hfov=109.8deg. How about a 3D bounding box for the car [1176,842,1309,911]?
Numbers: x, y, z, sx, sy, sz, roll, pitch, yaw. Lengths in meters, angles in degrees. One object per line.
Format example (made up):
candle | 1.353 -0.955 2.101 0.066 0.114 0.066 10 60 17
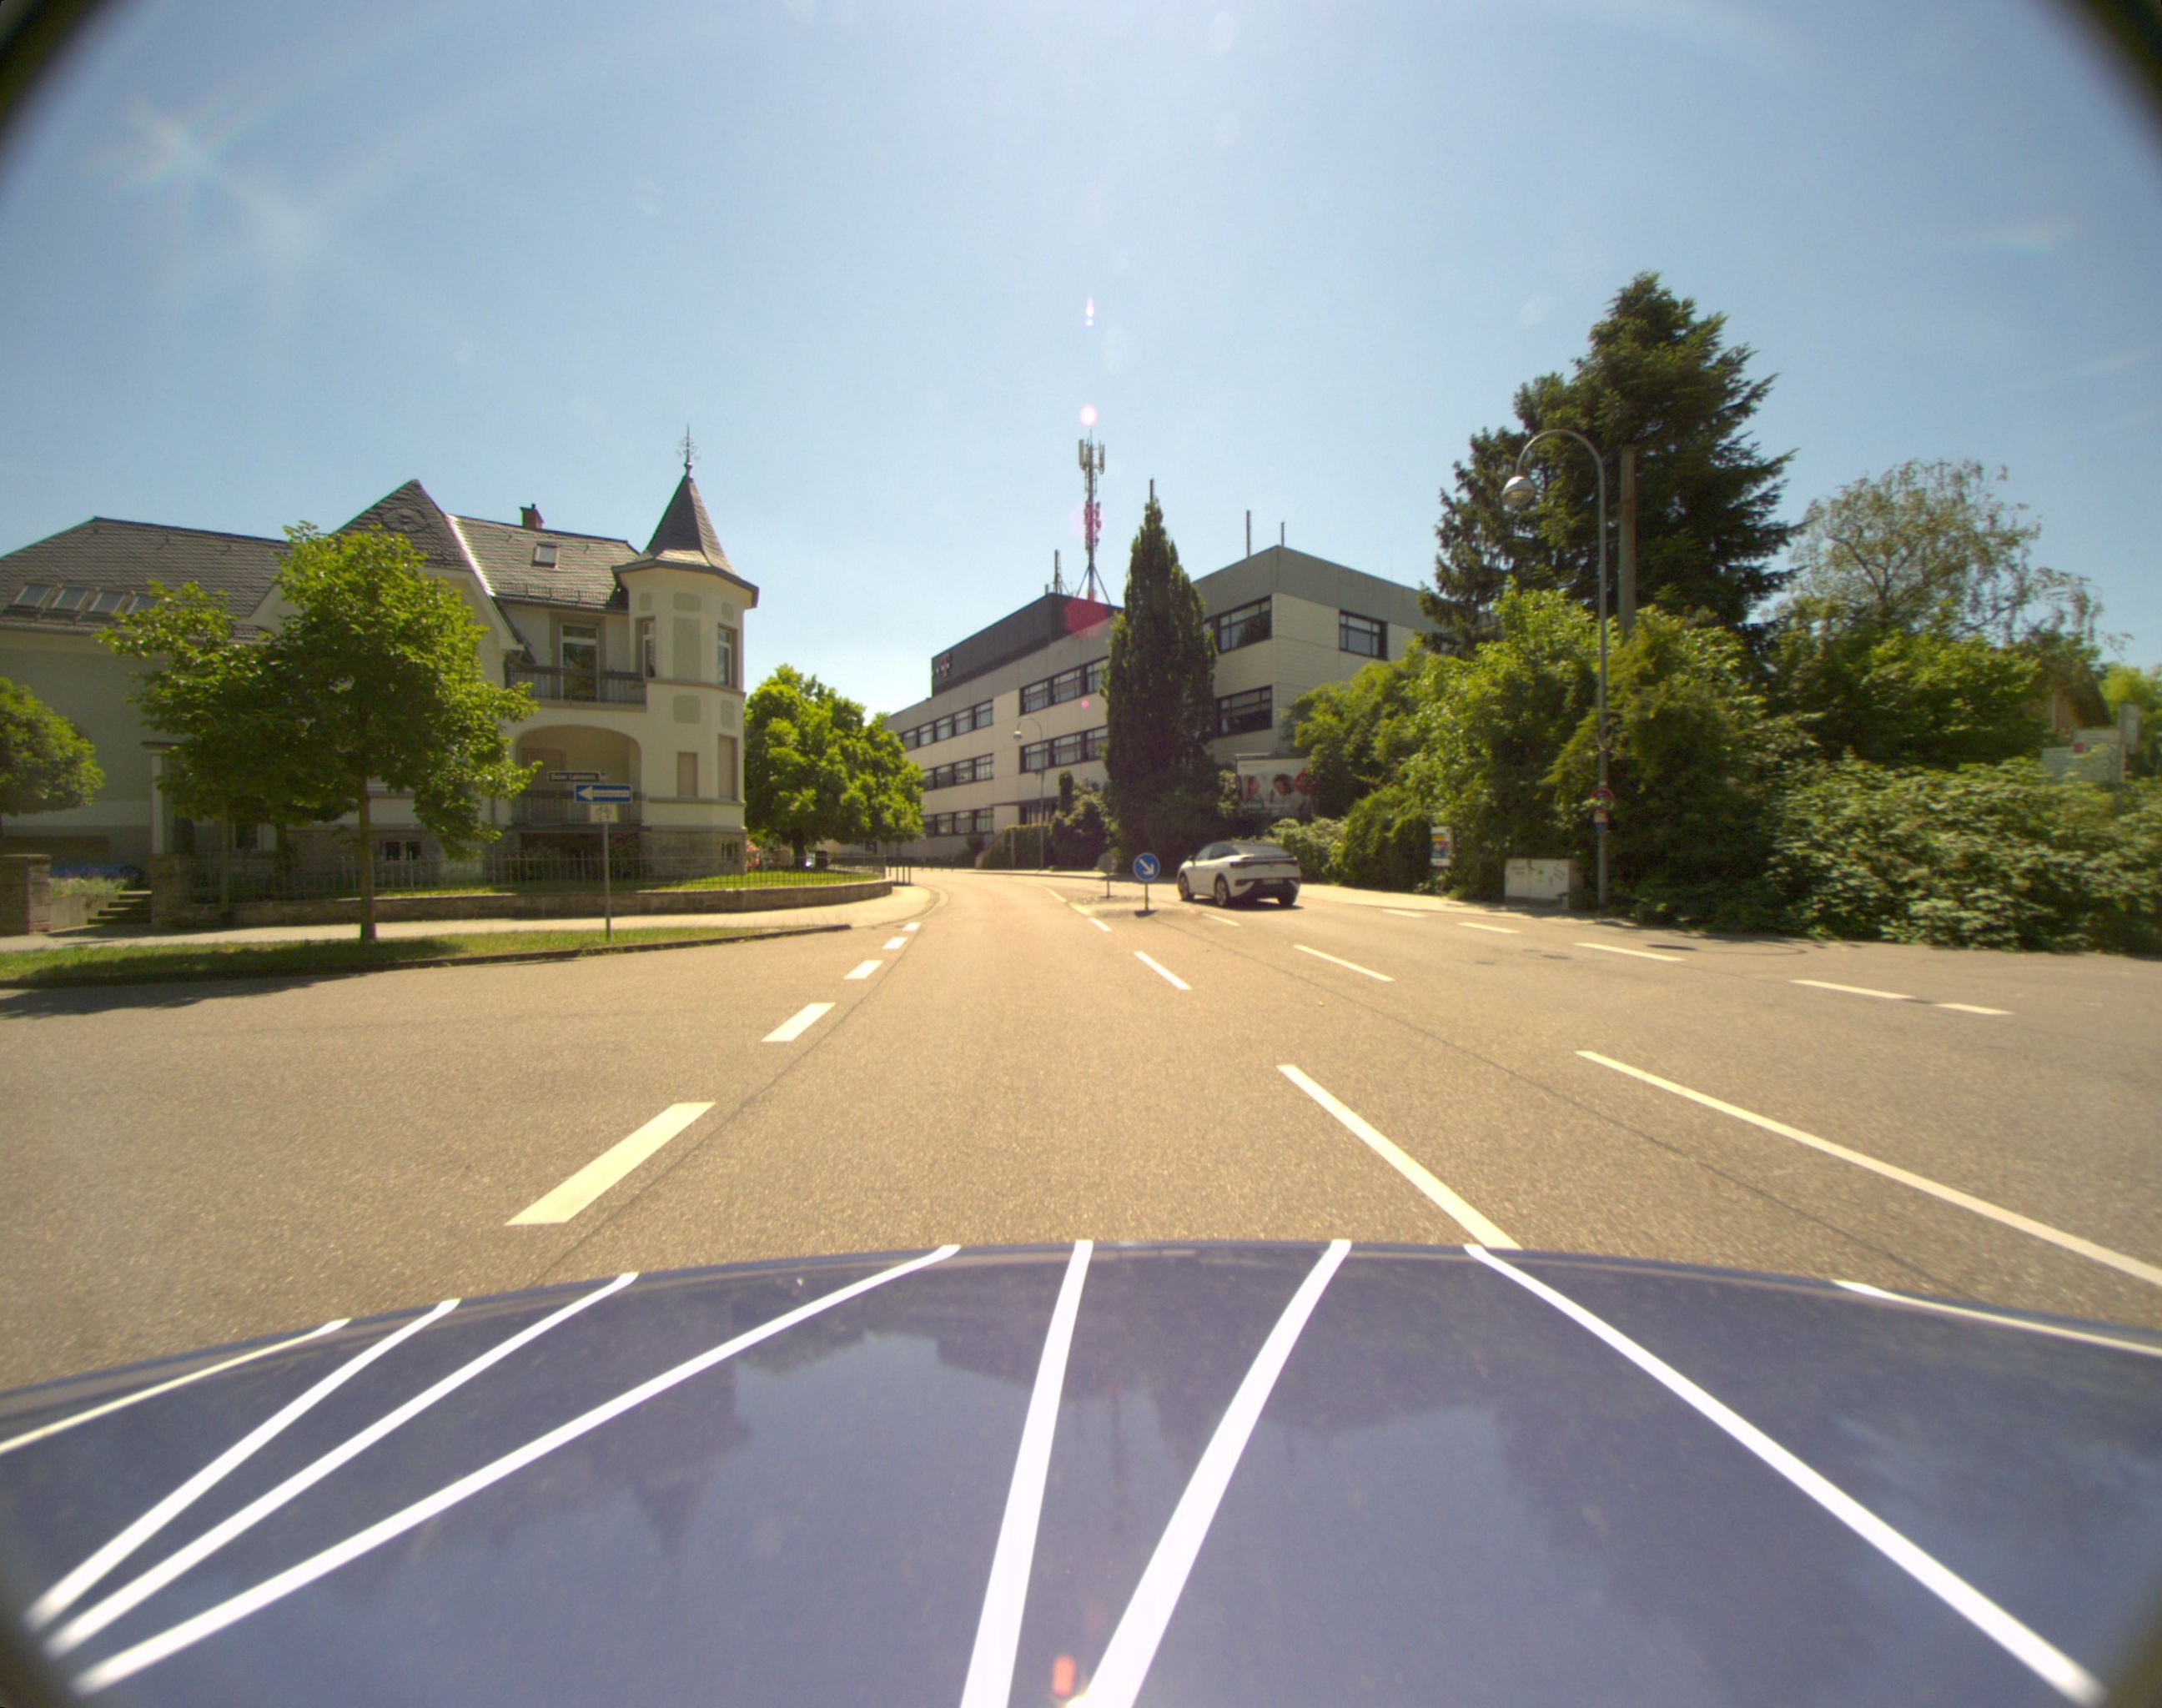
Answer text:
car | 3.983 0.507 19.544 1.851 1.521 4.334 -1 0 -10

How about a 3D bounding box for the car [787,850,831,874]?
car | -18.413 0.533 51.439 1.778 1.532 3.989 -1 1 -35

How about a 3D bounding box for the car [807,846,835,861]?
car | -27.868 -0.060 81.267 1.740 1.441 4.019 -2 2 -35
